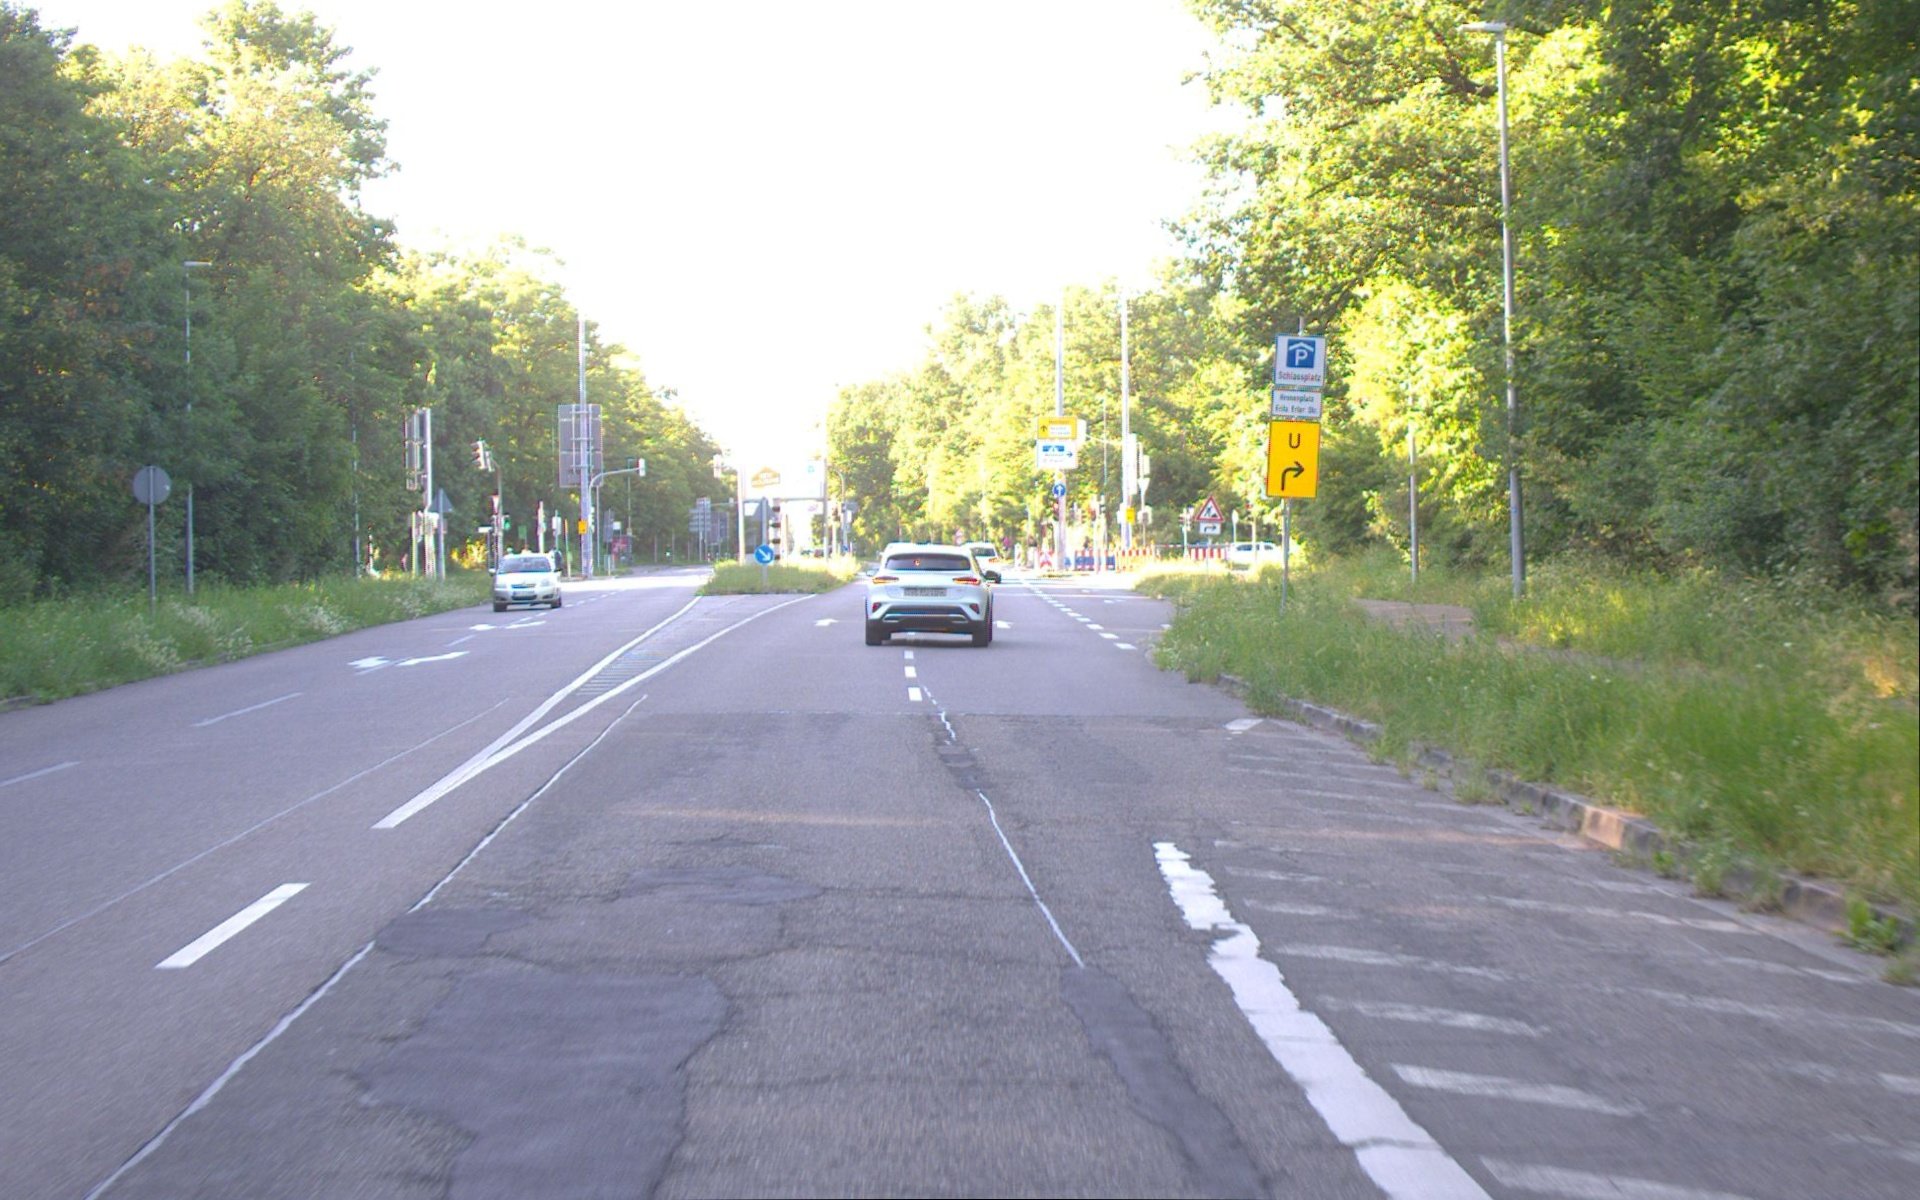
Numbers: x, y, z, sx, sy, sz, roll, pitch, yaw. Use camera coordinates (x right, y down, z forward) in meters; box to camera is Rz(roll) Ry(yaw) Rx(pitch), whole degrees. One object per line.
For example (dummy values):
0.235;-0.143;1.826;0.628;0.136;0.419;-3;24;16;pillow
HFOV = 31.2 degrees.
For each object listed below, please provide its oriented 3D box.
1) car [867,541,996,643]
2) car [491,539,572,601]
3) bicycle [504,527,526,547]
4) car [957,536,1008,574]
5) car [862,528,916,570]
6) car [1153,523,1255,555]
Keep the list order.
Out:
-0.422;-0.150;51.726;1.863;1.439;4.000;0;1;0;car
-11.302;-0.819;90.859;1.828;1.450;4.481;-3;2;-4;car
-21.802;-3.083;168.308;0.715;0.911;1.911;-1;2;3;bicycle
0.884;-1.757;134.305;1.940;1.409;4.000;-1;1;0;car
-2.941;-2.106;142.047;1.993;1.679;4.001;-1;1;-4;car
12.598;-3.152;177.584;4.816;1.575;2.001;-1;1;-22;car
